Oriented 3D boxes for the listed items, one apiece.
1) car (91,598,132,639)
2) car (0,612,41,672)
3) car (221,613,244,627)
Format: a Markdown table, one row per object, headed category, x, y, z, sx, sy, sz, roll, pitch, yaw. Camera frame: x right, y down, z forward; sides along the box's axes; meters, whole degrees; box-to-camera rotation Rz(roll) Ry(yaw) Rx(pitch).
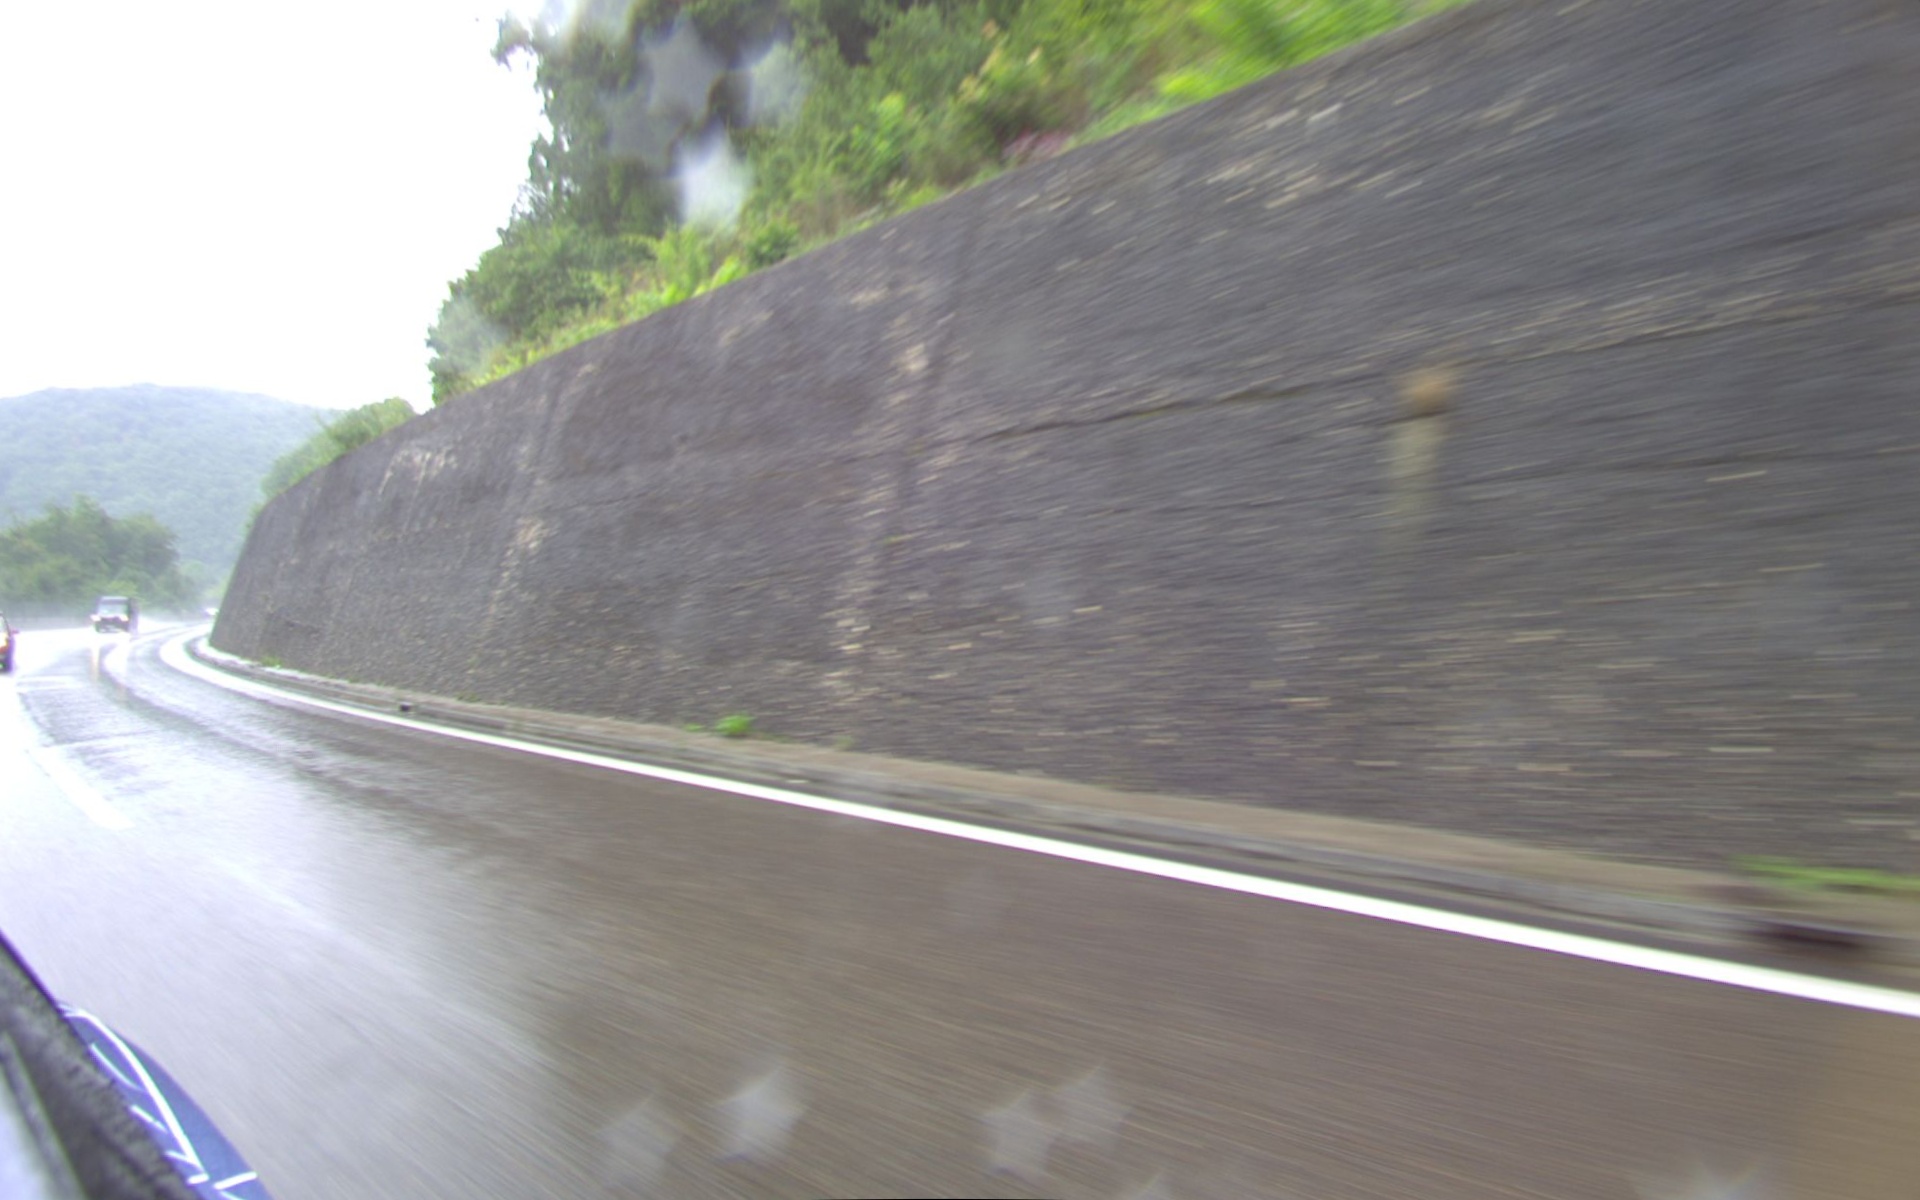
| category | x | y | z | sx | sy | sz | roll | pitch | yaw |
| --- | --- | --- | --- | --- | --- | --- | --- | --- | --- |
| car | -64.037 | 1.382 | 76.431 | 1.713 | 3.048 | 4.012 | 0 | -1 | -30 |
| car | -27.740 | 1.141 | 28.523 | 2.323 | 1.570 | 5.510 | 1 | -1 | -38 |
| car | -87.550 | 2.360 | 121.767 | 1.709 | 1.678 | 3.878 | 0 | -1 | -28 |
